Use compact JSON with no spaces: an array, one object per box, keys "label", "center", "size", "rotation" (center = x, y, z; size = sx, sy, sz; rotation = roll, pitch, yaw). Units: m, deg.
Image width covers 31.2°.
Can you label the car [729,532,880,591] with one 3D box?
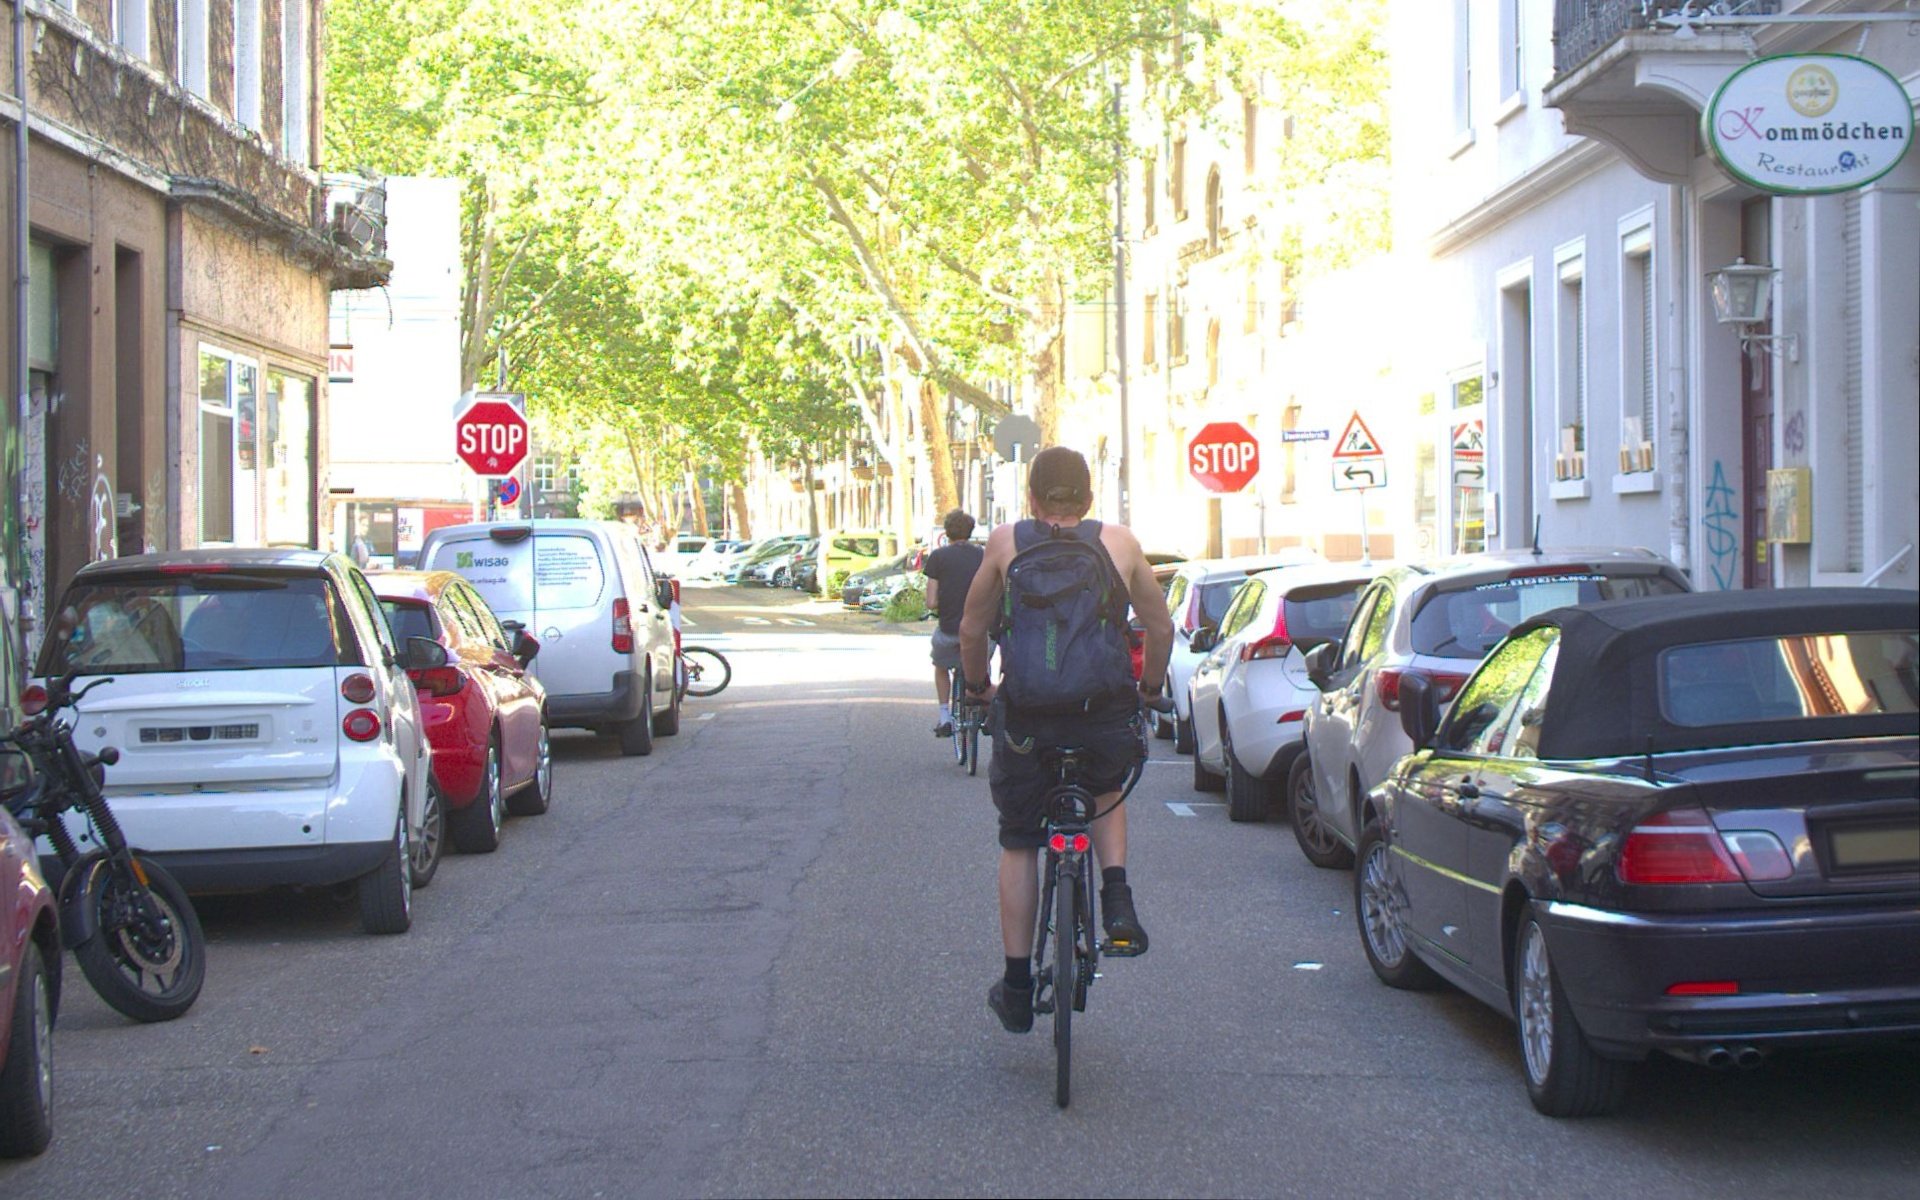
[{"label":"car","center":[-4.742,-1.184,104.338],"size":[4.468,1.690,1.867],"rotation":[-1,1,-5]}]

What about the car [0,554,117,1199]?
[{"label":"car","center":[-3.014,0.697,7.482],"size":[1.604,1.525,3.379],"rotation":[-2,1,-2]}]

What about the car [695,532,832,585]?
[{"label":"car","center":[-6.545,-1.388,114.324],"size":[4.468,1.690,1.867],"rotation":[-1,1,-5]}]

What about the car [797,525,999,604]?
[{"label":"car","center":[-1.436,-0.818,78.505],"size":[4.468,1.690,1.867],"rotation":[-1,1,-5]}]

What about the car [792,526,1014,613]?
[{"label":"car","center":[-1.199,-0.647,71.422],"size":[4.468,1.690,1.867],"rotation":[-1,1,-5]}]

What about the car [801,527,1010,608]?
[{"label":"car","center":[-1.223,-0.726,76.029],"size":[4.468,1.690,1.867],"rotation":[-1,1,-5]}]

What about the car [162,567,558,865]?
[{"label":"car","center":[-3.142,0.551,18.621],"size":[1.552,1.395,3.668],"rotation":[-1,1,-1]}]

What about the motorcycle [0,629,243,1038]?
[{"label":"motorcycle","center":[-3.261,0.750,11.106],"size":[1.795,1.251,0.710],"rotation":[-1,1,-14]}]

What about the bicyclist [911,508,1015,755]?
[{"label":"bicyclist","center":[0.016,0.204,23.568],"size":[0.669,1.653,0.877],"rotation":[-1,1,-1]}]

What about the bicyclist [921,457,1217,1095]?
[{"label":"bicyclist","center":[0.281,0.456,9.634],"size":[0.740,1.673,1.117],"rotation":[1,1,-1]}]

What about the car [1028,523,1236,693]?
[{"label":"car","center":[1.859,0.051,38.307],"size":[1.893,1.763,4.001],"rotation":[-1,1,-3]}]

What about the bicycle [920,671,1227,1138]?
[{"label":"bicycle","center":[0.276,0.794,9.730],"size":[0.740,1.097,2.042],"rotation":[1,1,-1]}]

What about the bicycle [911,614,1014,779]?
[{"label":"bicycle","center":[0.004,0.643,23.719],"size":[0.664,1.034,1.959],"rotation":[-1,1,-1]}]

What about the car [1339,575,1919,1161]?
[{"label":"car","center":[2.275,0.629,10.281],"size":[1.657,1.334,4.001],"rotation":[-1,1,-2]}]

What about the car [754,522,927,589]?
[{"label":"car","center":[-3.195,-1.194,91.355],"size":[4.468,1.690,1.867],"rotation":[-1,1,-5]}]

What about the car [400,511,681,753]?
[{"label":"car","center":[-3.222,0.199,27.055],"size":[1.787,1.731,3.876],"rotation":[-1,1,-1]}]

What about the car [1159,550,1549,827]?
[{"label":"car","center":[2.263,0.450,20.717],"size":[1.710,1.465,4.001],"rotation":[-1,1,-2]}]

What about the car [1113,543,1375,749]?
[{"label":"car","center":[2.236,0.316,27.824],"size":[1.652,1.525,3.575],"rotation":[-1,1,-2]}]

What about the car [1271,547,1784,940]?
[{"label":"car","center":[2.378,0.526,15.260],"size":[1.592,1.487,3.876],"rotation":[-1,1,0]}]

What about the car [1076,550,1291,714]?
[{"label":"car","center":[2.115,0.271,33.399],"size":[1.686,1.466,3.575],"rotation":[-1,1,-2]}]

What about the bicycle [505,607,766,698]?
[{"label":"bicycle","center":[-3.418,0.552,36.395],"size":[2.715,0.889,0.619],"rotation":[-1,1,-3]}]

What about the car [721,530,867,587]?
[{"label":"car","center":[-5.196,-1.292,107.547],"size":[4.468,1.690,1.867],"rotation":[-1,1,-5]}]

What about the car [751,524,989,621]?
[{"label":"car","center":[-1.769,-0.540,66.470],"size":[4.468,1.753,1.867],"rotation":[-1,1,-5]}]

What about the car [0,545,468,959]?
[{"label":"car","center":[-3.050,0.549,14.857],"size":[1.544,1.545,3.466],"rotation":[-1,1,-4]}]
